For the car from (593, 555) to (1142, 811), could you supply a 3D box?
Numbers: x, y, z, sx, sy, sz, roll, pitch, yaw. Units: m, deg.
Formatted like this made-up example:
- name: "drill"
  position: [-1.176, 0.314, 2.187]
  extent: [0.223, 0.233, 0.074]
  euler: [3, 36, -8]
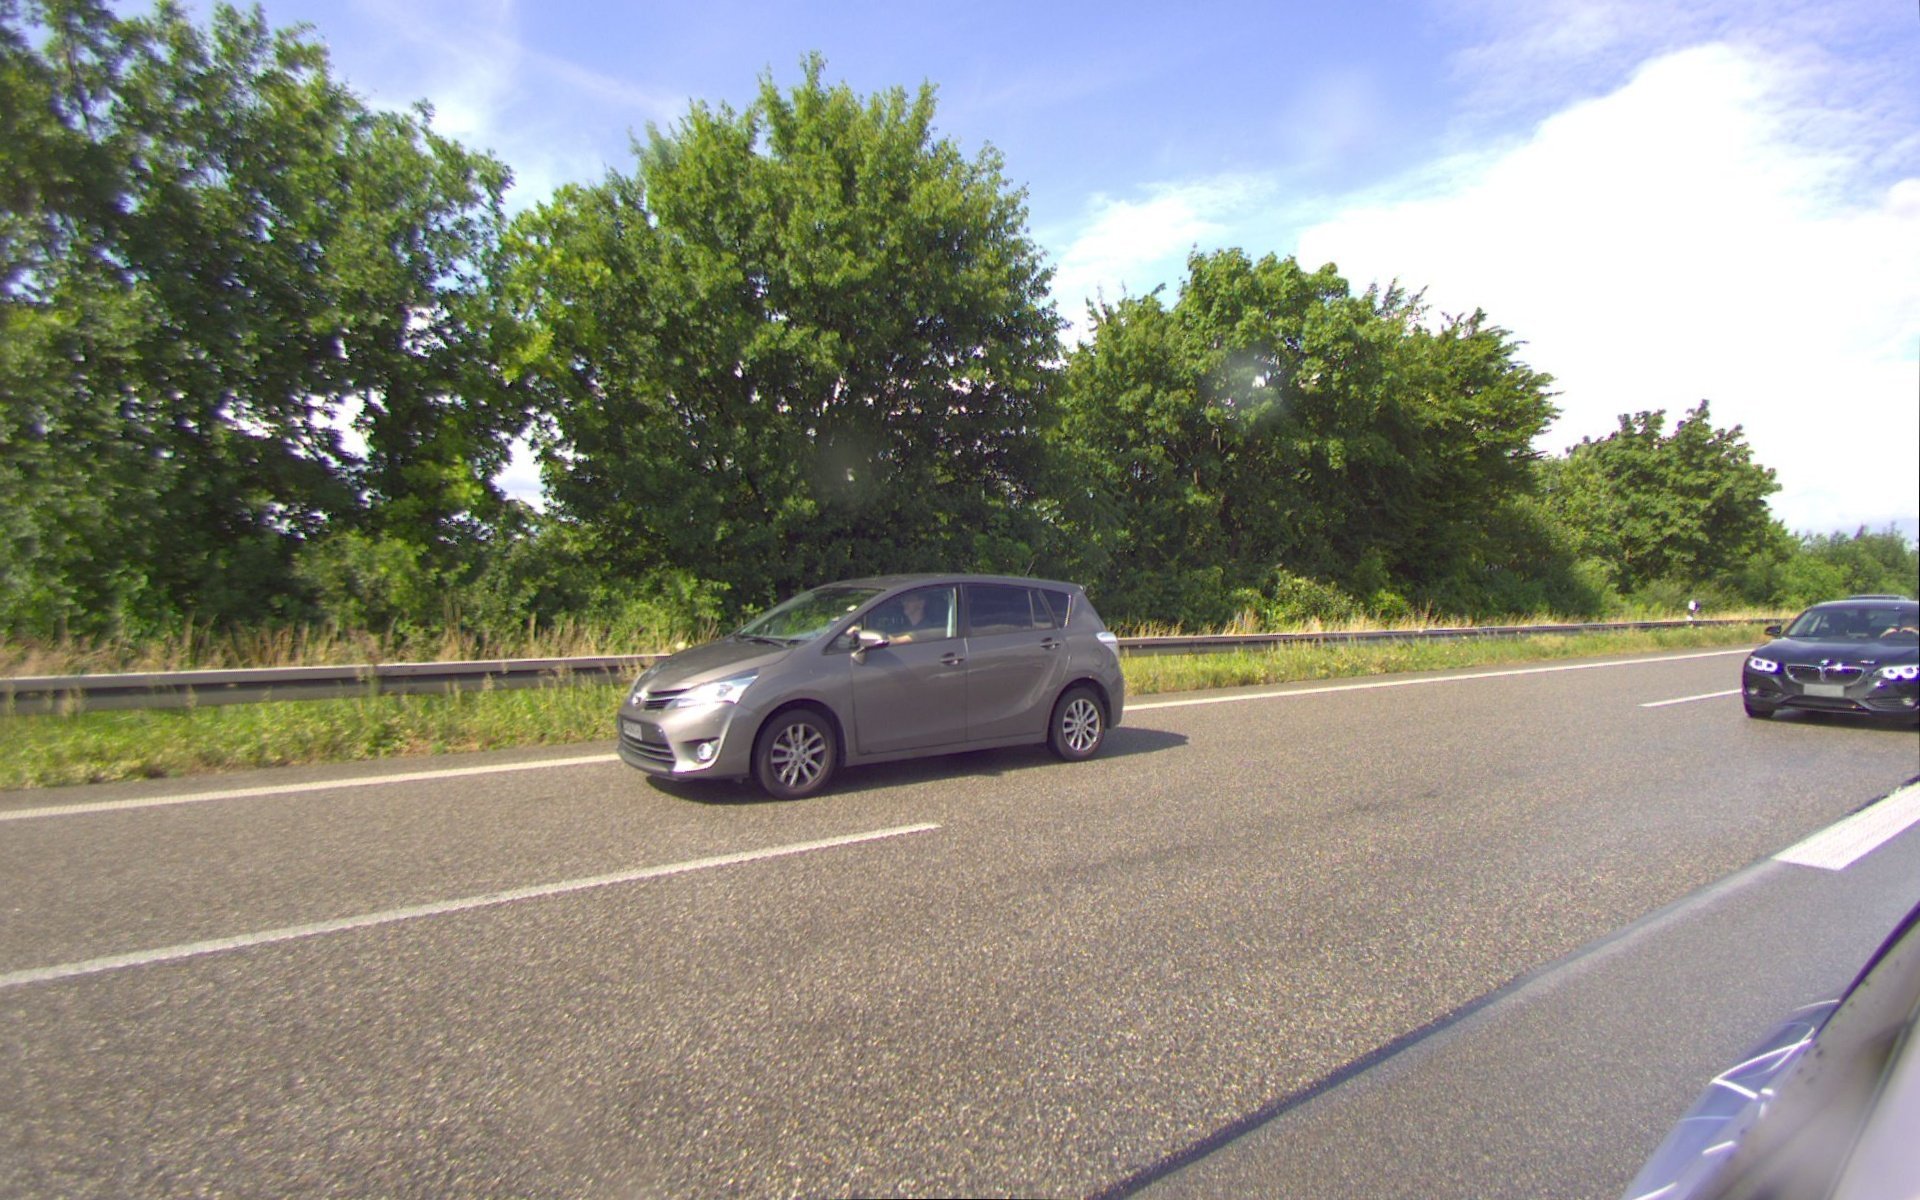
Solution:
- name: "car"
  position: [-0.615, 0.509, 8.475]
  extent: [4.304, 1.633, 1.793]
  euler: [0, 1, -37]

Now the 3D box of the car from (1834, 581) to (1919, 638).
- name: "car"
  position: [27.774, 0.237, 30.185]
  extent: [3.927, 1.588, 1.853]
  euler: [-1, 1, -38]

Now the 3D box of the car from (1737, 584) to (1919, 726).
- name: "car"
  position: [11.386, 0.553, 12.479]
  extent: [4.177, 1.482, 1.853]
  euler: [-1, 1, -38]
